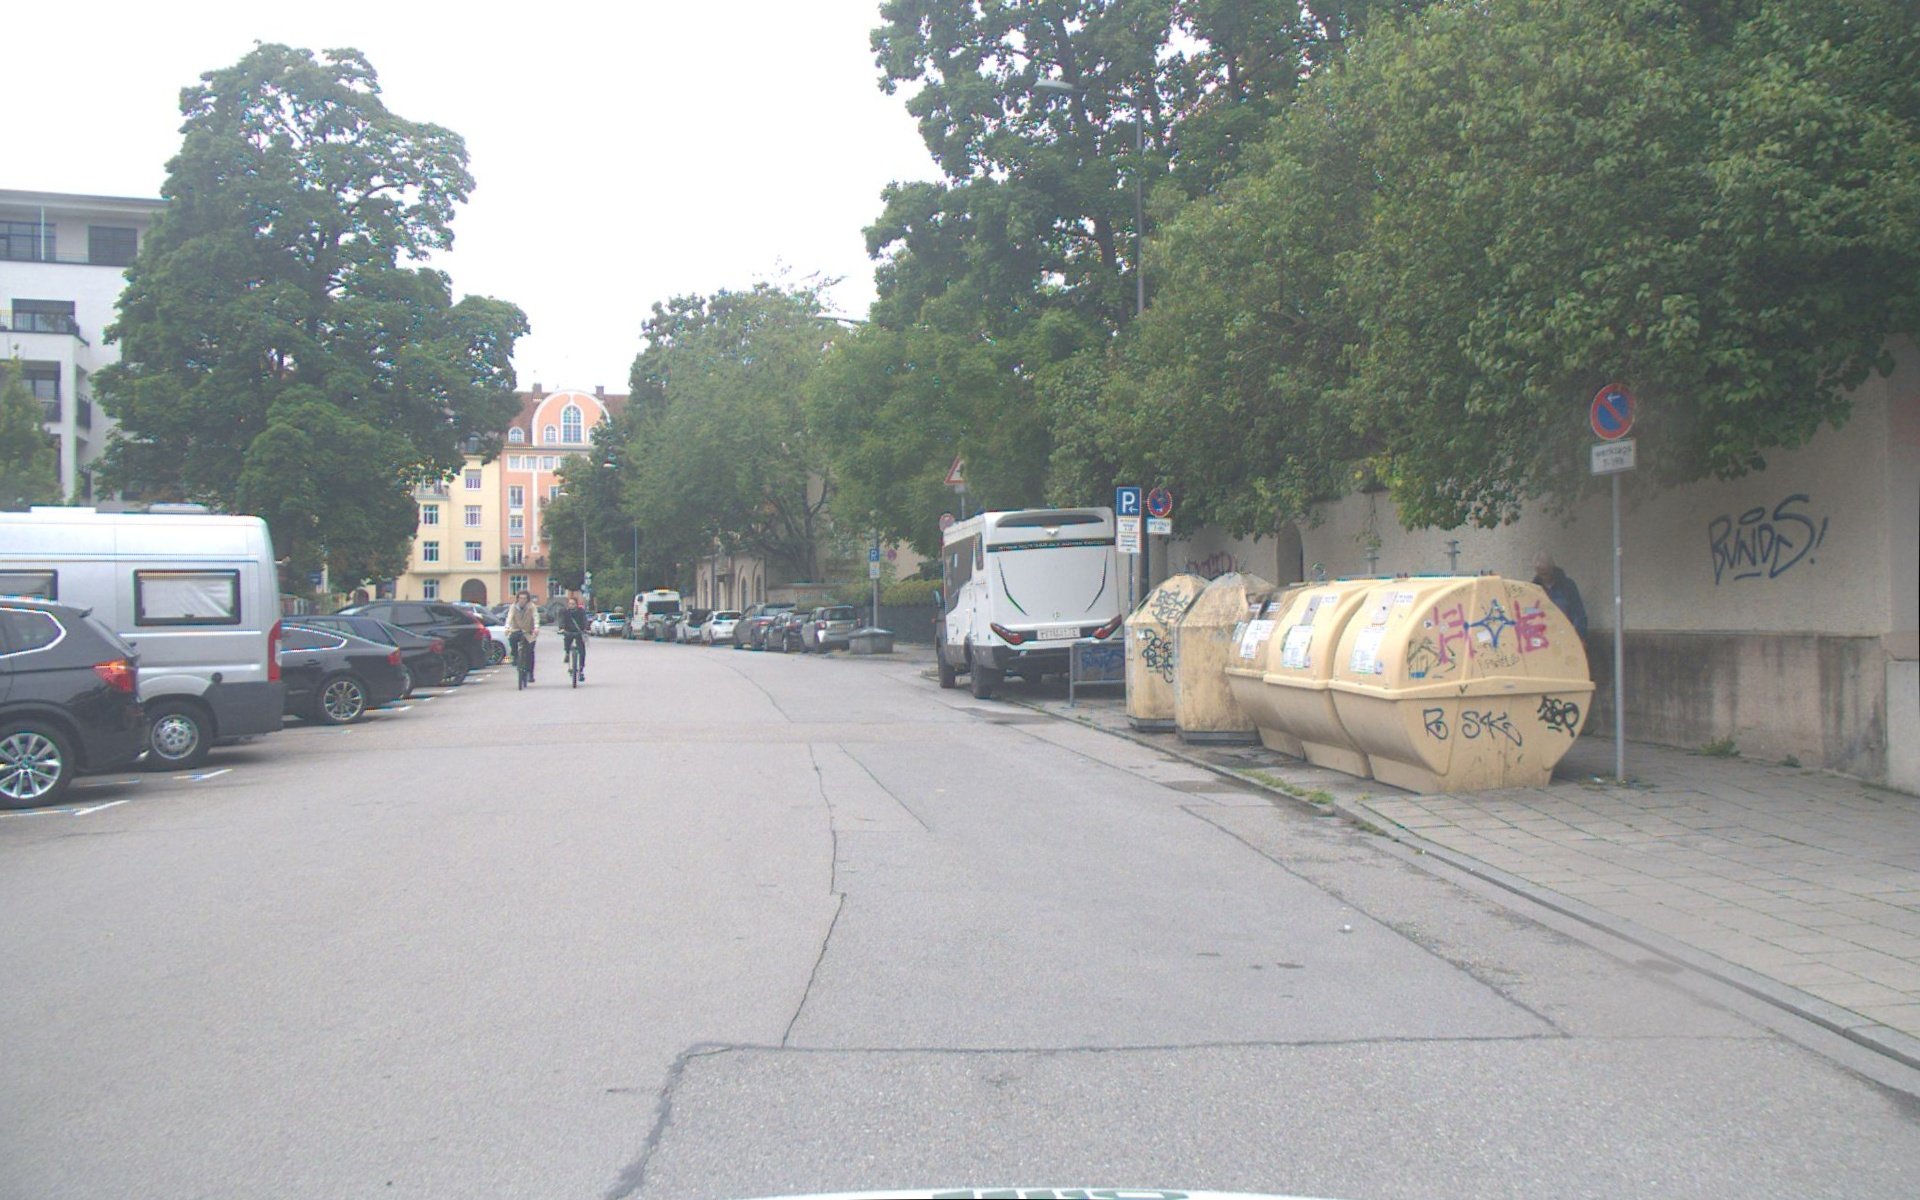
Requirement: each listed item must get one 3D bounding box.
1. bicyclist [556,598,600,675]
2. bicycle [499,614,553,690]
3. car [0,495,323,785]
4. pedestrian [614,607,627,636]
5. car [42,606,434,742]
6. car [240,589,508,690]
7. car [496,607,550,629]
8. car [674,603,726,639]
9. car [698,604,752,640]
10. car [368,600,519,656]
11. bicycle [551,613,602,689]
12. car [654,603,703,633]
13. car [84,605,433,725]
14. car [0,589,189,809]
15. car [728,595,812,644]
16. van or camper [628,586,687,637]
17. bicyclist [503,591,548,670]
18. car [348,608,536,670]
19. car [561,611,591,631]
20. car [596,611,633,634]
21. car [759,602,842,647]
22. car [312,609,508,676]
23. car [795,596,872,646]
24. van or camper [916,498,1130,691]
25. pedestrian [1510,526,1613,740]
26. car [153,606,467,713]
[{"bbox_3d":[-7.056,0.662,30.572,0.683,1.376,0.929,-1,0,-7],"label":"bicyclist"},{"bbox_3d":[-7.972,0.927,30.432,0.694,1.328,2.114,-1,0,-8],"label":"bicycle"},{"bbox_3d":[-8.849,0.355,16.090,4.579,2.608,2.209,-2,1,-33],"label":"car"},{"bbox_3d":[-23.678,1.506,115.405,0.763,2.049,0.558,0,-1,-24],"label":"pedestrian"},{"bbox_3d":[-9.593,0.909,22.114,4.478,1.476,1.952,-2,1,-37],"label":"car"},{"bbox_3d":[-11.314,0.736,32.078,4.484,1.694,1.959,-2,0,-40],"label":"car"},{"bbox_3d":[-40.243,1.647,152.319,4.636,1.913,1.828,0,-1,-21],"label":"car"},{"bbox_3d":[-12.145,0.975,77.045,1.681,1.564,4.217,-3,0,-18],"label":"car"},{"bbox_3d":[-10.300,0.970,72.277,1.659,1.466,3.979,-2,0,-18],"label":"car"},{"bbox_3d":[-17.185,0.916,55.188,2.096,1.729,4.392,-2,-1,38],"label":"car"},{"bbox_3d":[-7.039,0.912,30.438,0.693,1.328,2.115,-1,0,-7],"label":"bicycle"},{"bbox_3d":[-14.054,0.909,82.483,1.681,1.393,4.416,-2,0,-19],"label":"car"},{"bbox_3d":[-10.447,0.919,24.820,4.484,1.476,1.794,-3,0,-40],"label":"car"},{"bbox_3d":[-8.687,0.852,13.071,4.471,1.654,1.945,-2,-1,-33],"label":"car"},{"bbox_3d":[-7.294,0.733,63.224,1.966,1.741,4.852,-2,0,-21],"label":"car"},{"bbox_3d":[-16.294,0.612,88.936,2.160,2.594,5.695,-2,0,-20],"label":"van or camper"},{"bbox_3d":[-7.985,0.557,30.413,0.683,1.422,0.928,-1,0,-8],"label":"bicyclist"},{"bbox_3d":[-13.913,1.034,44.577,4.481,1.476,1.867,-2,0,-44],"label":"car"},{"bbox_3d":[-28.916,1.576,124.497,1.647,1.367,3.812,-2,2,-22],"label":"car"},{"bbox_3d":[-22.210,1.440,106.199,1.682,1.432,4.105,-2,0,-20],"label":"car"},{"bbox_3d":[-5.723,0.858,58.881,1.851,1.452,4.194,-2,0,-22],"label":"car"},{"bbox_3d":[-13.650,1.020,41.213,4.356,1.476,1.633,-2,0,-41],"label":"car"},{"bbox_3d":[-4.229,0.707,55.045,1.715,1.563,2.927,-2,0,-22],"label":"car"},{"bbox_3d":[0.901,-0.090,29.275,2.231,2.957,7.258,-1,0,-10],"label":"van or camper"},{"bbox_3d":[5.838,0.308,16.083,0.617,2.020,0.797,-1,0,-8],"label":"pedestrian"},{"bbox_3d":[-10.734,0.930,27.470,4.484,1.442,1.900,-3,1,-40],"label":"car"}]
